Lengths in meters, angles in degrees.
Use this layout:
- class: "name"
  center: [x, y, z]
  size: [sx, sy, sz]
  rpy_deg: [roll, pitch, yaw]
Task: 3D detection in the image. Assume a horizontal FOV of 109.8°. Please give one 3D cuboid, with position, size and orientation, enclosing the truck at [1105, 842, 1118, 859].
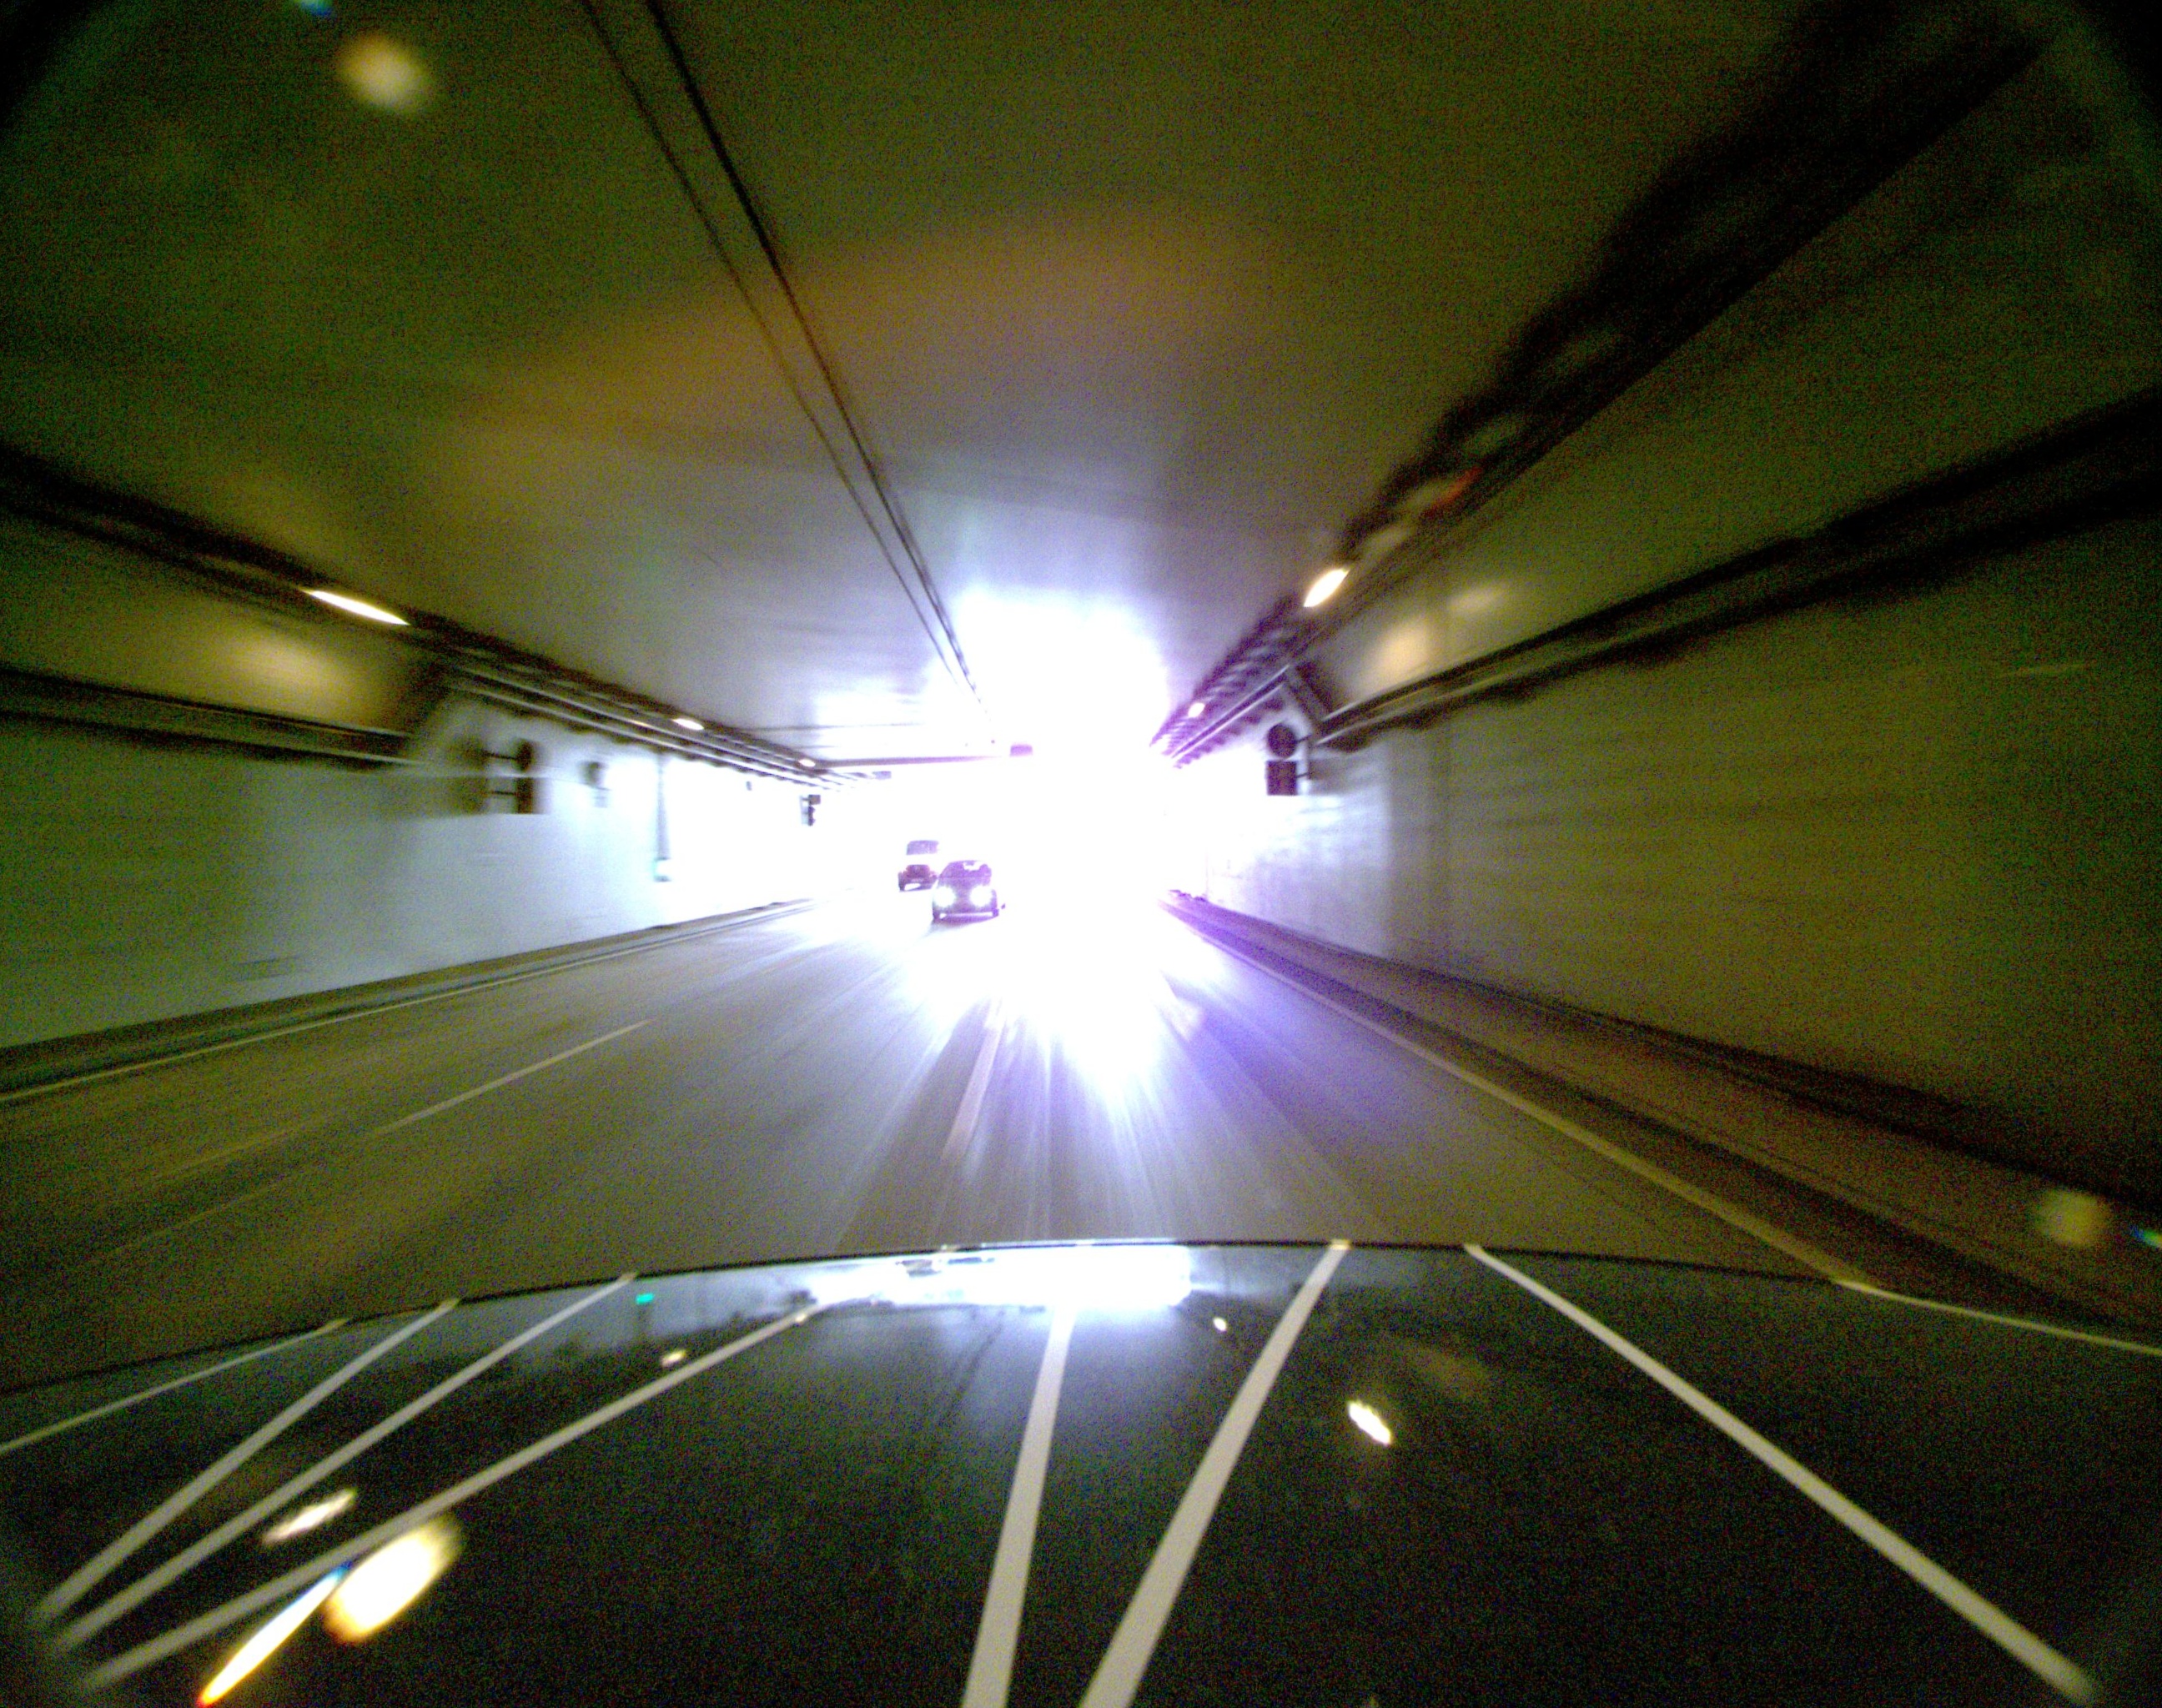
- class: "truck"
  center: [5.401, -0.673, 135.318]
  size: [2.138, 2.713, 5.669]
  rpy_deg: [-2, 2, 0]

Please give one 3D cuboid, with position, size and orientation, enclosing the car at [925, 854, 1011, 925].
- class: "car"
  center: [-2.841, 0.839, 19.873]
  size: [1.639, 1.552, 3.715]
  rpy_deg: [-2, 1, 0]

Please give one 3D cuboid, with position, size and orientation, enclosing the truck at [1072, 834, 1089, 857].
- class: "truck"
  center: [-0.046, -1.397, 120.066]
  size: [2.494, 3.369, 6.374]
  rpy_deg: [-2, 2, 0]

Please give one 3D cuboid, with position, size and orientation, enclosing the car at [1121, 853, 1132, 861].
- class: "car"
  center: [9.542, 0.569, 160.055]
  size: [1.950, 1.524, 4.000]
  rpy_deg: [-2, -1, -1]

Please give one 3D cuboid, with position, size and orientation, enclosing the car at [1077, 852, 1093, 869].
- class: "car"
  center: [0.471, 0.640, 82.707]
  size: [1.639, 1.661, 3.715]
  rpy_deg: [-2, 2, 0]

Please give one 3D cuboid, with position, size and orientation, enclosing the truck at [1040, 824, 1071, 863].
- class: "truck"
  center: [-2.994, -1.323, 93.659]
  size: [2.886, 4.447, 10.452]
  rpy_deg: [-2, 2, 2]

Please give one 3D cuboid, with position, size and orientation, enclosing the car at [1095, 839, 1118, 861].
- class: "car"
  center: [2.373, -0.434, 71.465]
  size: [1.935, 1.918, 4.195]
  rpy_deg: [-2, 2, 0]

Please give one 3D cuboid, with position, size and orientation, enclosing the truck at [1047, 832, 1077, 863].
- class: "truck"
  center: [-1.613, -0.614, 65.884]
  size: [2.073, 2.525, 6.023]
  rpy_deg: [-2, 2, 3]

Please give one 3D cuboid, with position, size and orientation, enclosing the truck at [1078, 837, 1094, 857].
- class: "truck"
  center: [0.800, -1.275, 129.847]
  size: [2.494, 3.121, 6.374]
  rpy_deg: [-2, 2, 0]

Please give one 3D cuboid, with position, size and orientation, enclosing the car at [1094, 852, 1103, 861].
- class: "car"
  center: [3.554, 0.443, 154.878]
  size: [1.639, 1.788, 3.716]
  rpy_deg: [-2, 0, 0]

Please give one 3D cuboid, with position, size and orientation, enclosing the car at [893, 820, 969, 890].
- class: "car"
  center: [-6.657, 0.021, 34.580]
  size: [2.107, 2.831, 6.860]
  rpy_deg: [-1, 1, 0]

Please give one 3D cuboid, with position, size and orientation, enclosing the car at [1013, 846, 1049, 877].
- class: "car"
  center: [-2.704, 0.377, 41.951]
  size: [1.764, 1.552, 3.817]
  rpy_deg: [-2, 1, -1]
